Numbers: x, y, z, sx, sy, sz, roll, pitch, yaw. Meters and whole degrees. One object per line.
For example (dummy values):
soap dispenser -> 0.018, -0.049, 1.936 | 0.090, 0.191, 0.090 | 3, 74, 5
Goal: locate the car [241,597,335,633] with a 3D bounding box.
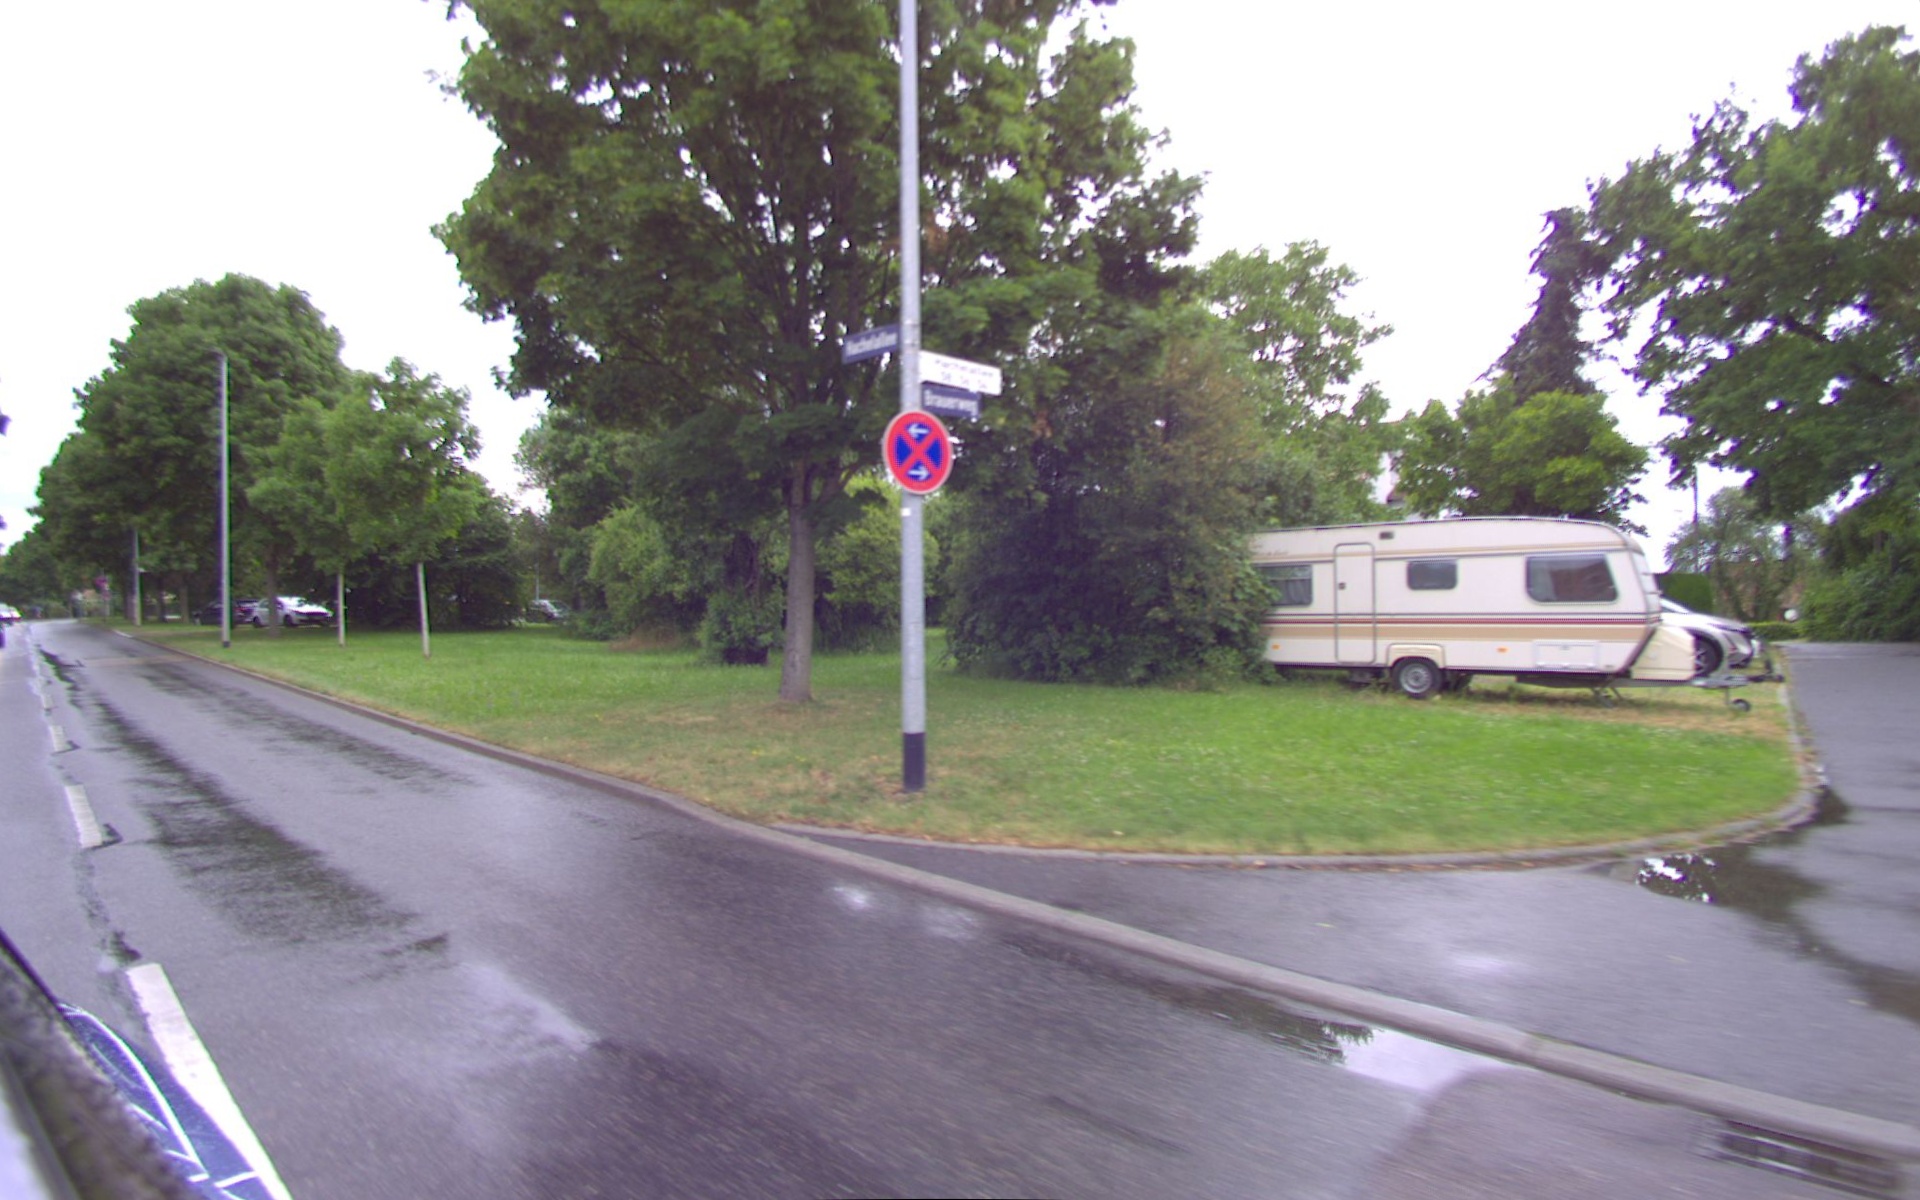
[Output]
car -> -30.632, 0.685, 46.101 | 4.198, 1.441, 1.869 | -4, -1, 29

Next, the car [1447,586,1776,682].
car -> 12.042, 0.532, 18.943 | 4.998, 1.548, 1.773 | 1, 1, 39

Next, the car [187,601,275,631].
car -> -38.732, 0.844, 53.744 | 4.221, 1.525, 1.880 | 0, 0, 22

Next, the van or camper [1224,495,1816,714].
van or camper -> 7.365, 0.074, 14.053 | 6.804, 2.378, 2.361 | -1, 0, 39
